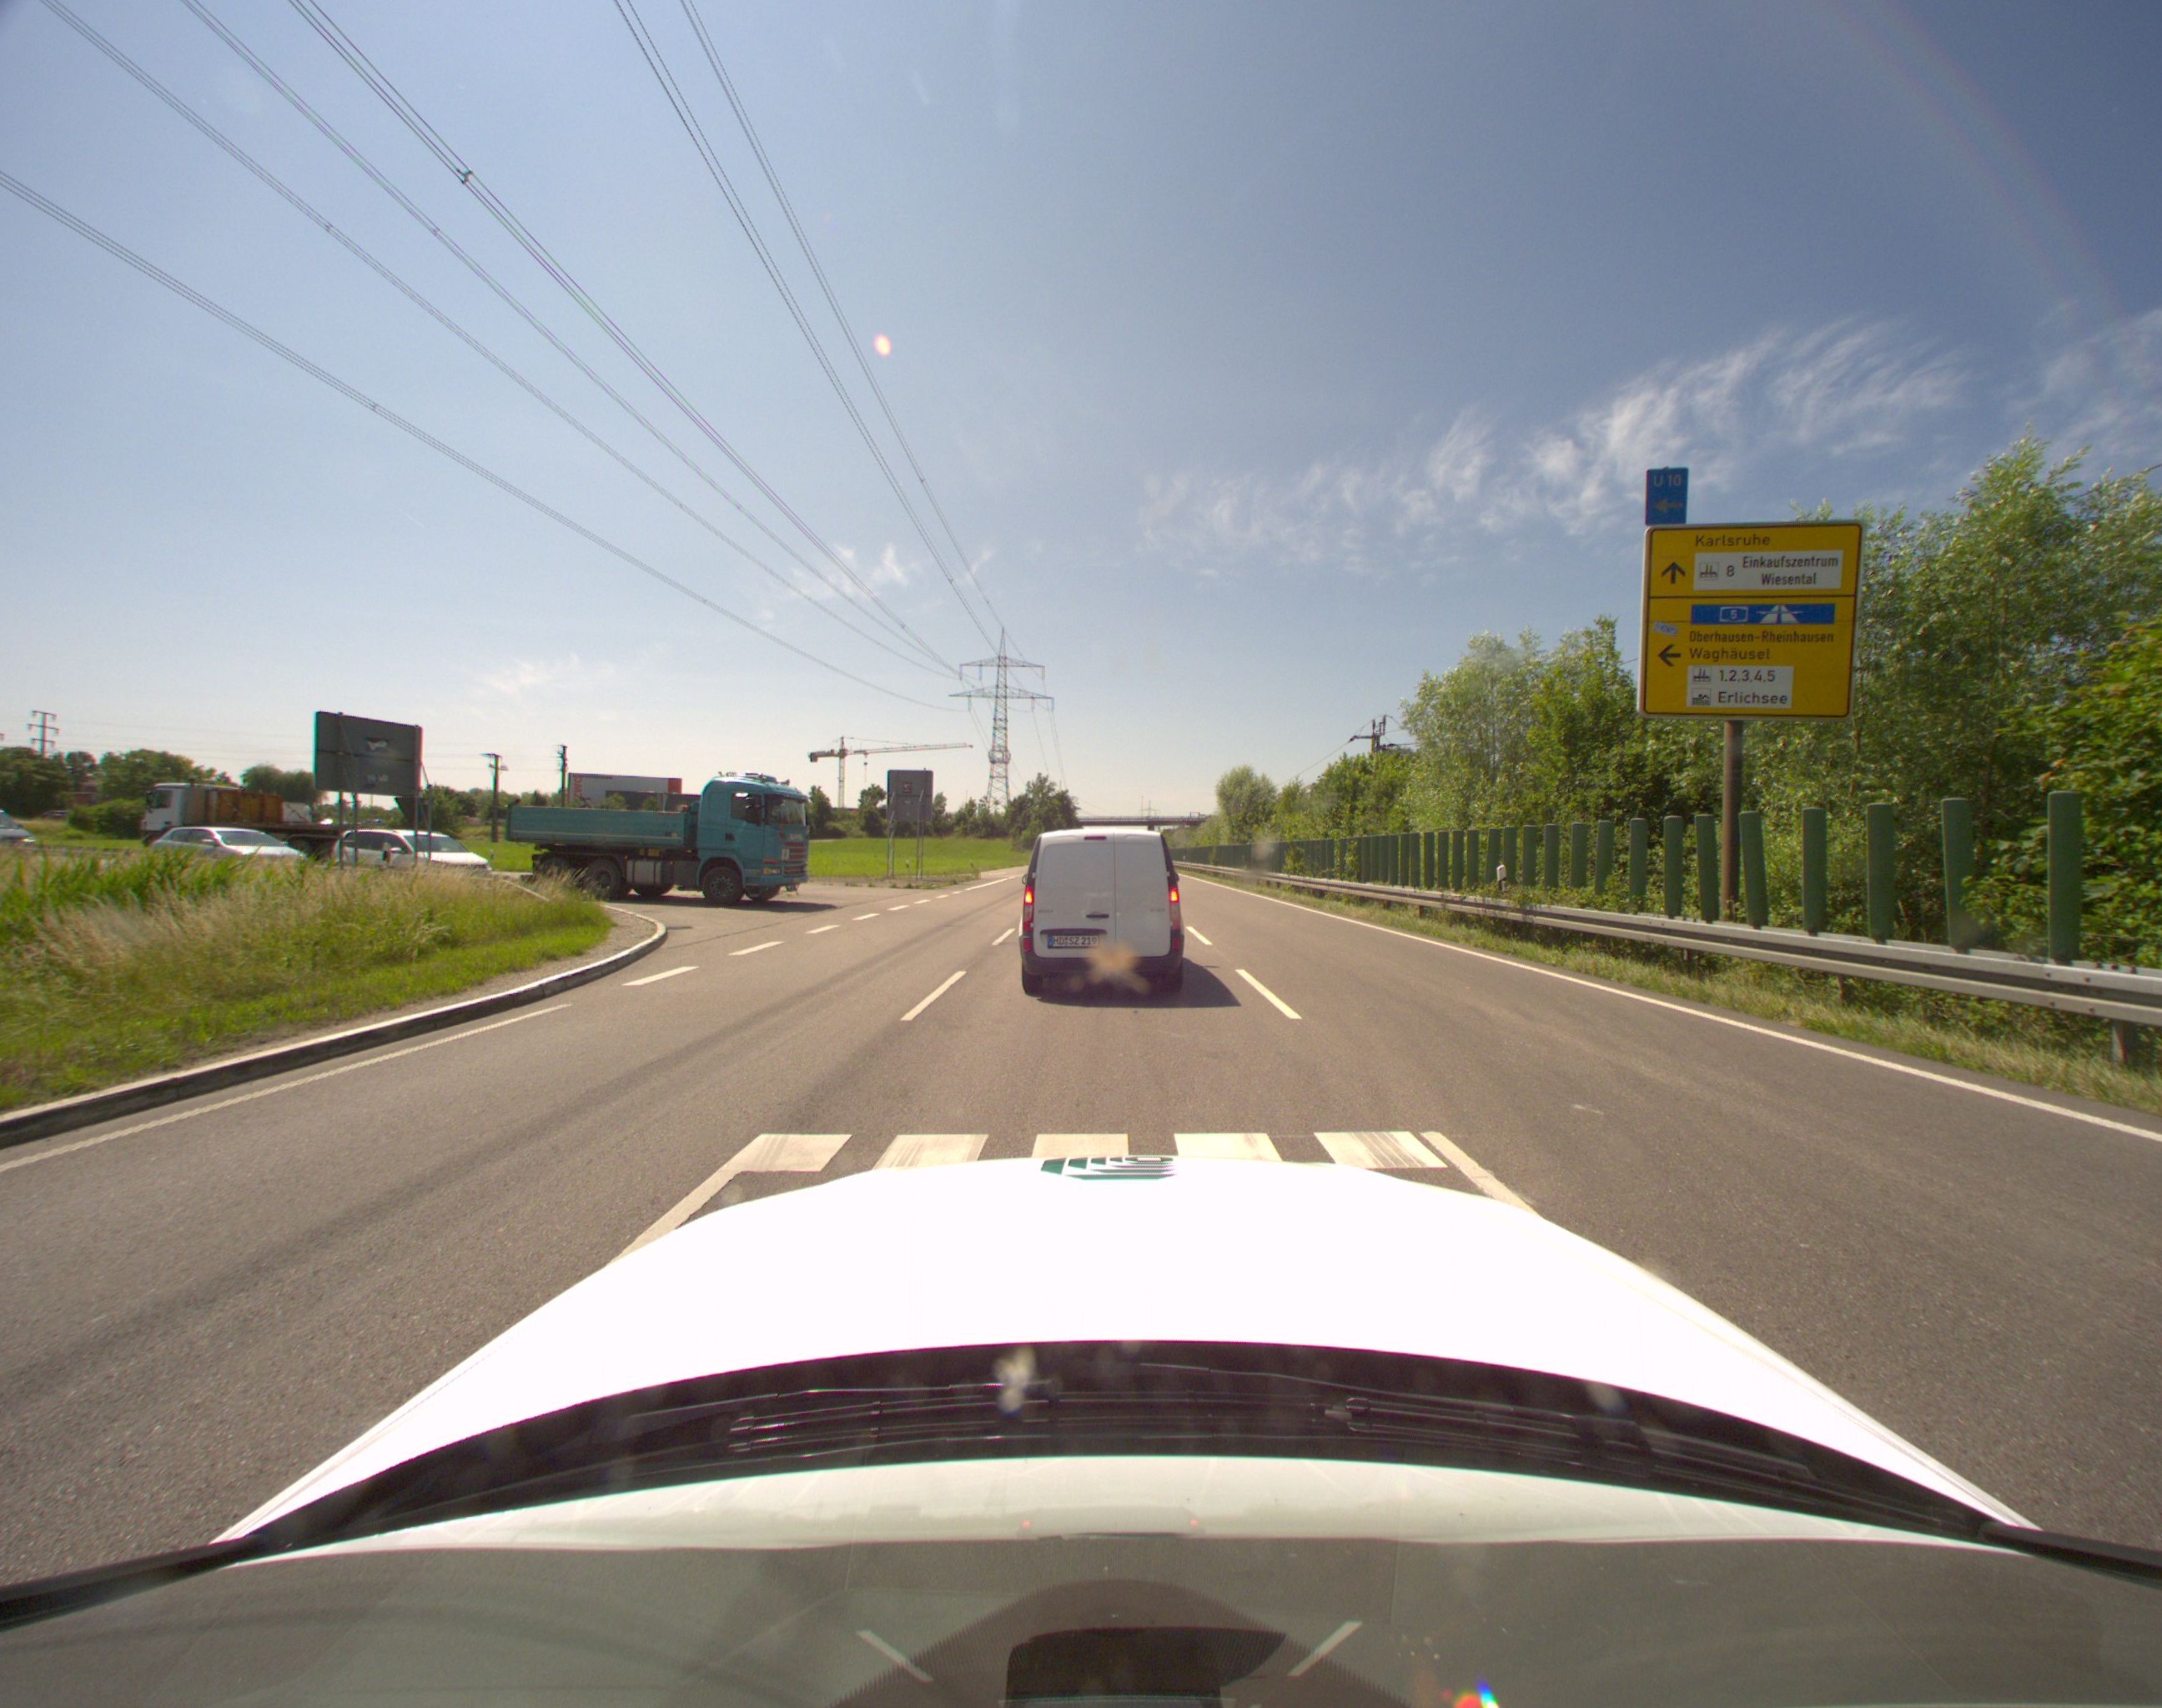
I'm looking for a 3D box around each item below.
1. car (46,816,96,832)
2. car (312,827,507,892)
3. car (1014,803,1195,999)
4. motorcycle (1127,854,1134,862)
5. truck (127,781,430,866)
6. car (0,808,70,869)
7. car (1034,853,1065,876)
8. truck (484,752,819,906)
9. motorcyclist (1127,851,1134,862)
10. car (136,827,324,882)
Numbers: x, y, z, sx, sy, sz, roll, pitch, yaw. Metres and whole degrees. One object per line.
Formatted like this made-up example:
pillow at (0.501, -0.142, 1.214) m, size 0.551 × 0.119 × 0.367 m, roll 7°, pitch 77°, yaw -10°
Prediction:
car at (-112.651, -3.338, 90.906) m, size 2.004 × 1.679 × 3.965 m, roll 1°, pitch 0°, yaw -27°
car at (-18.928, 0.122, 22.999) m, size 4.507 × 1.612 × 1.976 m, roll 2°, pitch 0°, yaw 16°
car at (0.287, 0.470, 10.270) m, size 1.820 × 1.970 × 4.001 m, roll 0°, pitch 0°, yaw 1°
motorcycle at (6.849, 0.581, 112.774) m, size 0.788 × 1.157 × 1.901 m, roll 0°, pitch 0°, yaw 0°
truck at (-32.478, -1.218, 33.201) m, size 9.633 × 3.288 × 2.831 m, roll 0°, pitch 1°, yaw 1°
car at (-35.636, -0.563, 25.965) m, size 4.906 × 1.867 × 2.094 m, roll 2°, pitch 1°, yaw 10°
car at (-2.052, 0.675, 53.793) m, size 1.775 × 1.464 × 4.001 m, roll 0°, pitch 0°, yaw 1°
truck at (-11.683, -0.677, 22.547) m, size 7.870 × 3.734 × 2.501 m, roll 2°, pitch 0°, yaw 4°
motorcyclist at (6.851, 0.305, 112.855) m, size 0.886 × 1.476 × 1.002 m, roll 0°, pitch 0°, yaw 1°
car at (-25.025, -0.004, 23.988) m, size 4.402 × 1.470 × 1.724 m, roll 1°, pitch 0°, yaw 12°
